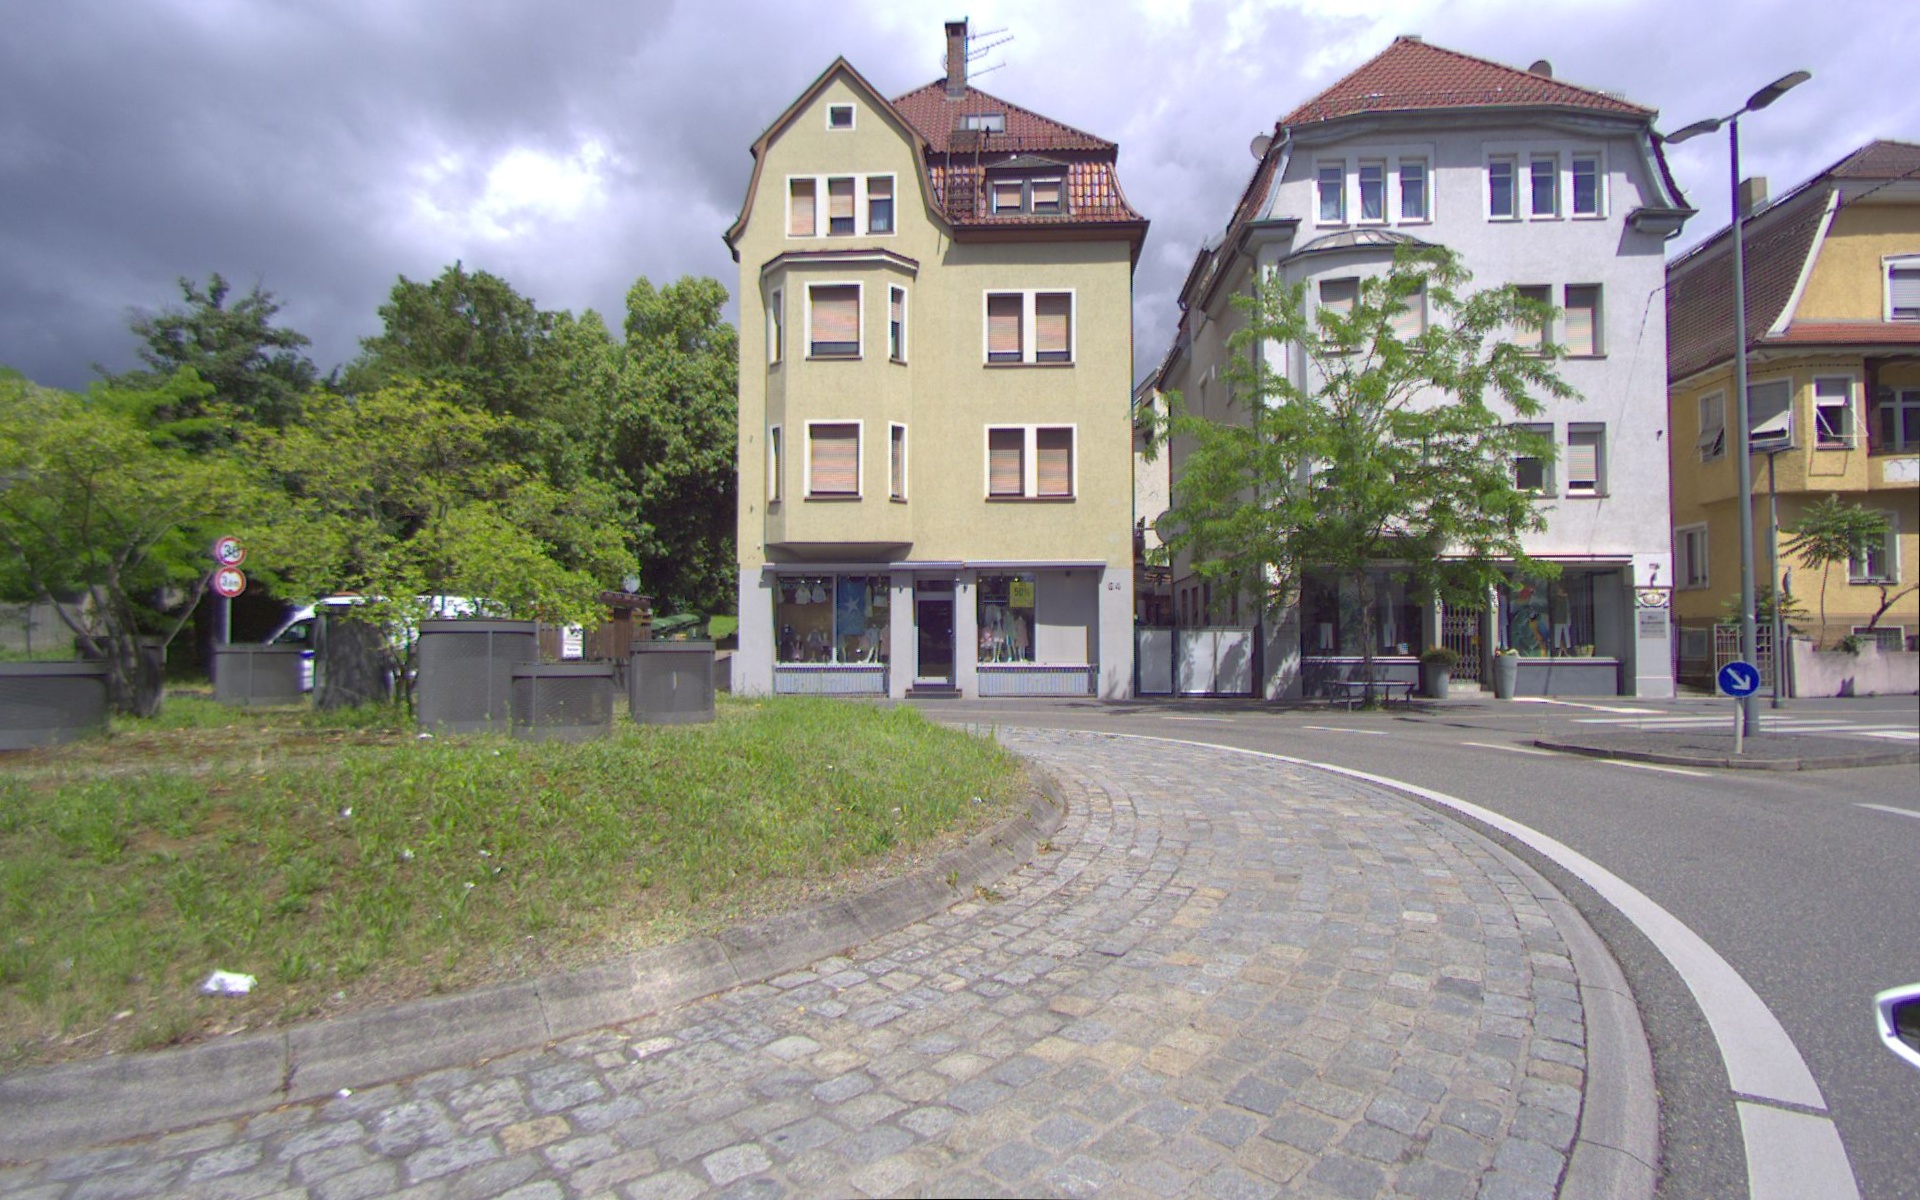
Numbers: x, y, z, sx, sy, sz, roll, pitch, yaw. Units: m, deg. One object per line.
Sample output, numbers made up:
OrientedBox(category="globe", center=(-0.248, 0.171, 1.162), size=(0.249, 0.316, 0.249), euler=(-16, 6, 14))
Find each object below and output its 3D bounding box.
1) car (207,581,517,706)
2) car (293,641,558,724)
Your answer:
OrientedBox(category="car", center=(-13.417, 0.962, 22.814), size=(5.814, 2.641, 1.974), euler=(-1, -1, -1))
OrientedBox(category="car", center=(-9.606, 1.460, 18.367), size=(3.931, 1.372, 1.711), euler=(0, -2, -13))
